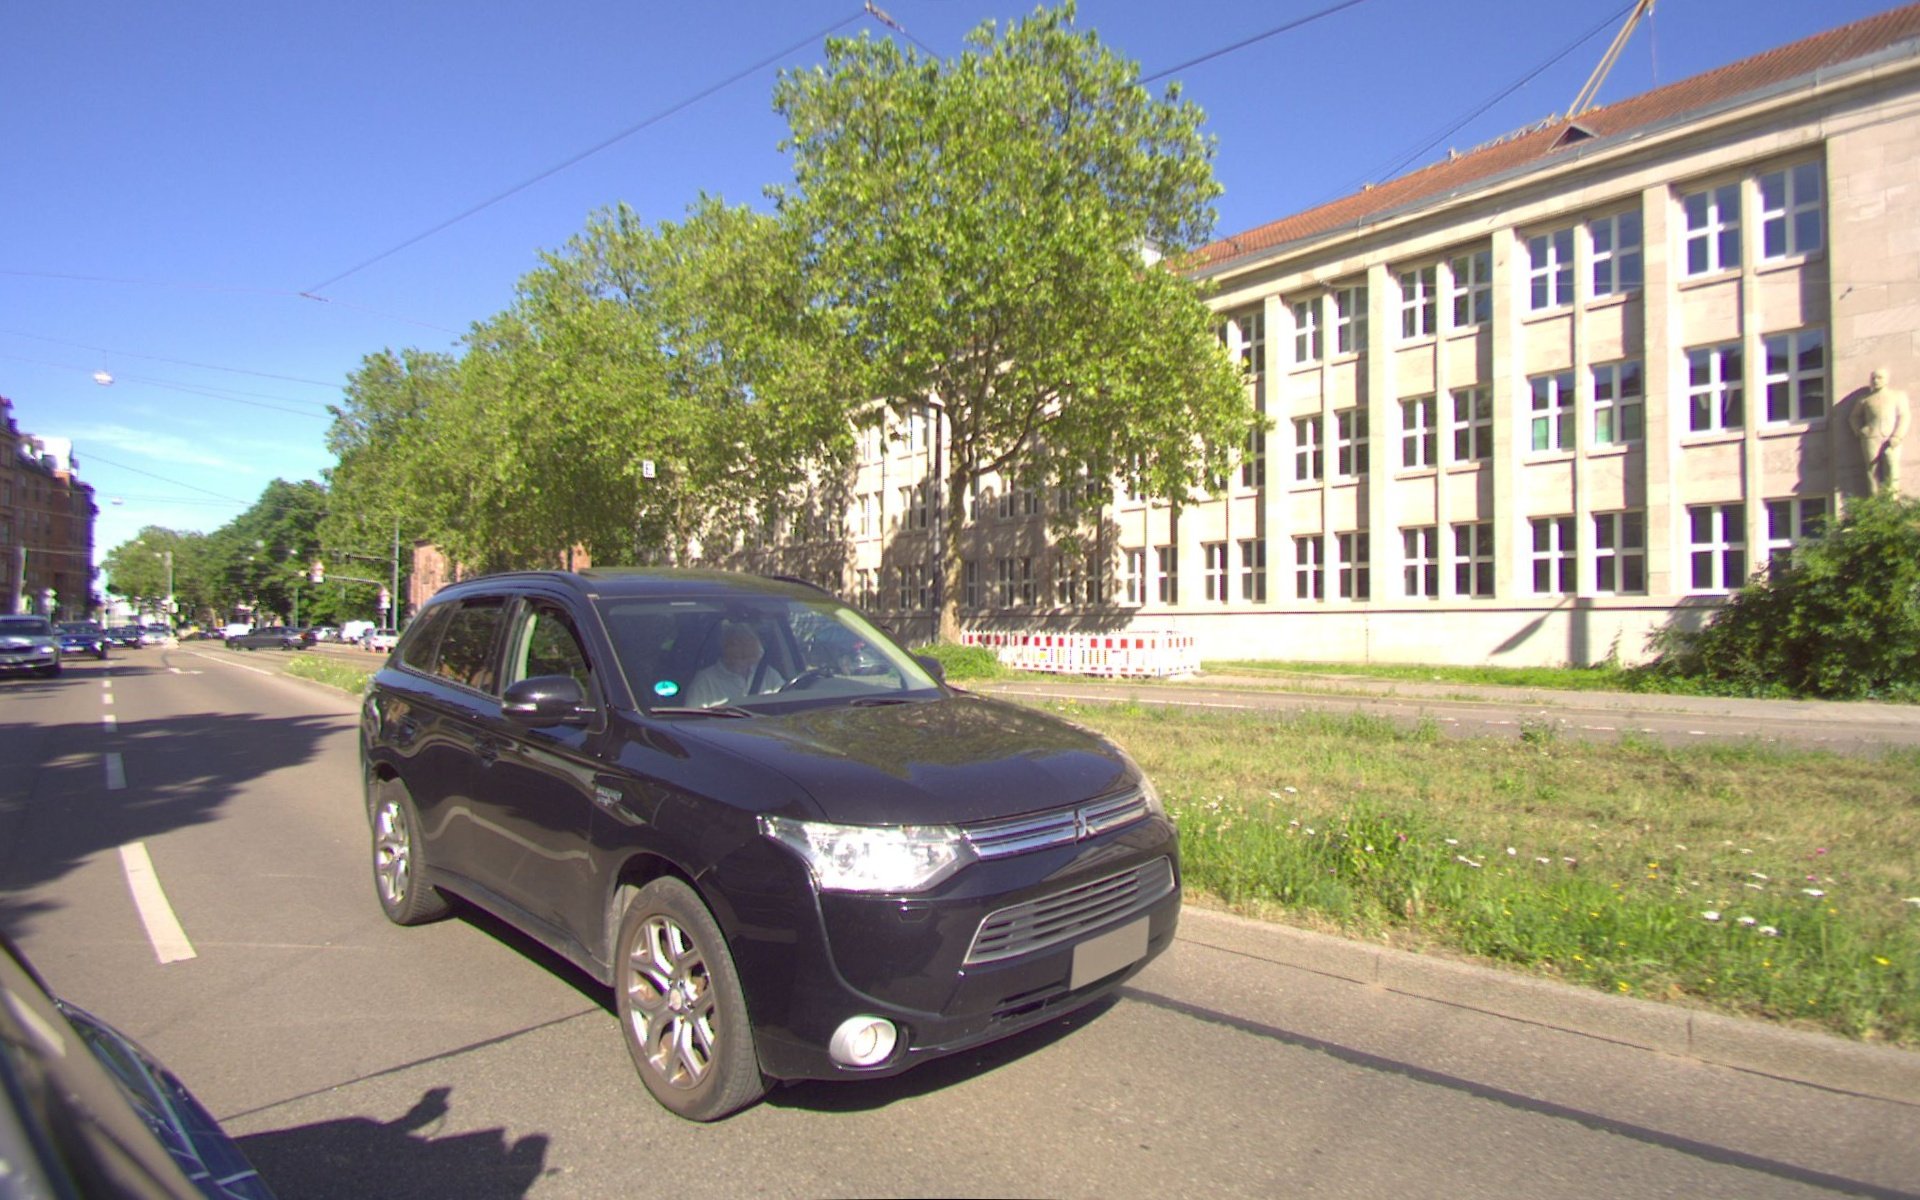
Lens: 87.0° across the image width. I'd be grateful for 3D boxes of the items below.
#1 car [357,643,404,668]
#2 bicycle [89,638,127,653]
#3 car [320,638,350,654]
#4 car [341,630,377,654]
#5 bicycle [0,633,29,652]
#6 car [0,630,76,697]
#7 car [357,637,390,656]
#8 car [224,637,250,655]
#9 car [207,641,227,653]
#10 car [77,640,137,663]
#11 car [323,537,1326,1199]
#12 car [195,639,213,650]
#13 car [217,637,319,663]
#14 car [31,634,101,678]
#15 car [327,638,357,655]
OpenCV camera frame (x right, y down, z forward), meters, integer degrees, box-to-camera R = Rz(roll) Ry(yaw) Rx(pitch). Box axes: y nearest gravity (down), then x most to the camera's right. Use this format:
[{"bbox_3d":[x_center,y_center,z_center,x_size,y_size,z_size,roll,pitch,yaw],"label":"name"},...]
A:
[{"bbox_3d":[-34.675,3.301,60.541,1.806,1.464,4.178,3,-4,-38],"label":"car"},{"bbox_3d":[-86.495,4.586,102.866,1.776,1.448,8.802,2,-3,-33],"label":"bicycle"},{"bbox_3d":[-61.248,4.484,99.123,1.768,1.563,4.312,2,-3,-42],"label":"car"},{"bbox_3d":[-54.250,3.817,91.329,1.892,2.113,4.598,2,-3,-42],"label":"car"},{"bbox_3d":[-74.596,3.318,79.083,1.938,1.427,6.842,3,-3,-36],"label":"bicycle"},{"bbox_3d":[-25.019,1.622,26.800,1.772,1.648,4.405,2,-2,-33],"label":"car"},{"bbox_3d":[-50.688,3.990,87.451,1.768,1.563,3.866,2,-3,-41],"label":"car"},{"bbox_3d":[-82.203,5.258,115.042,2.034,1.906,4.526,4,-5,-38],"label":"car"},{"bbox_3d":[-93.798,5.908,127.747,1.770,1.440,4.383,2,-3,-40],"label":"car"},{"bbox_3d":[-54.254,3.252,64.360,4.366,1.438,1.868,-1,-3,35],"label":"car"},{"bbox_3d":[-1.070,0.774,4.344,4.645,1.695,1.815,-1,-2,45],"label":"car"},{"bbox_3d":[-110.923,6.479,148.493,1.768,1.563,4.314,2,-3,-40],"label":"car"},{"bbox_3d":[-42.297,3.061,61.909,4.887,1.464,1.837,1,-3,-3],"label":"car"},{"bbox_3d":[-35.737,2.204,40.512,1.969,1.630,4.269,2,-3,-41],"label":"car"},{"bbox_3d":[-58.269,4.403,95.404,1.768,1.563,3.866,2,-3,-41],"label":"car"}]
